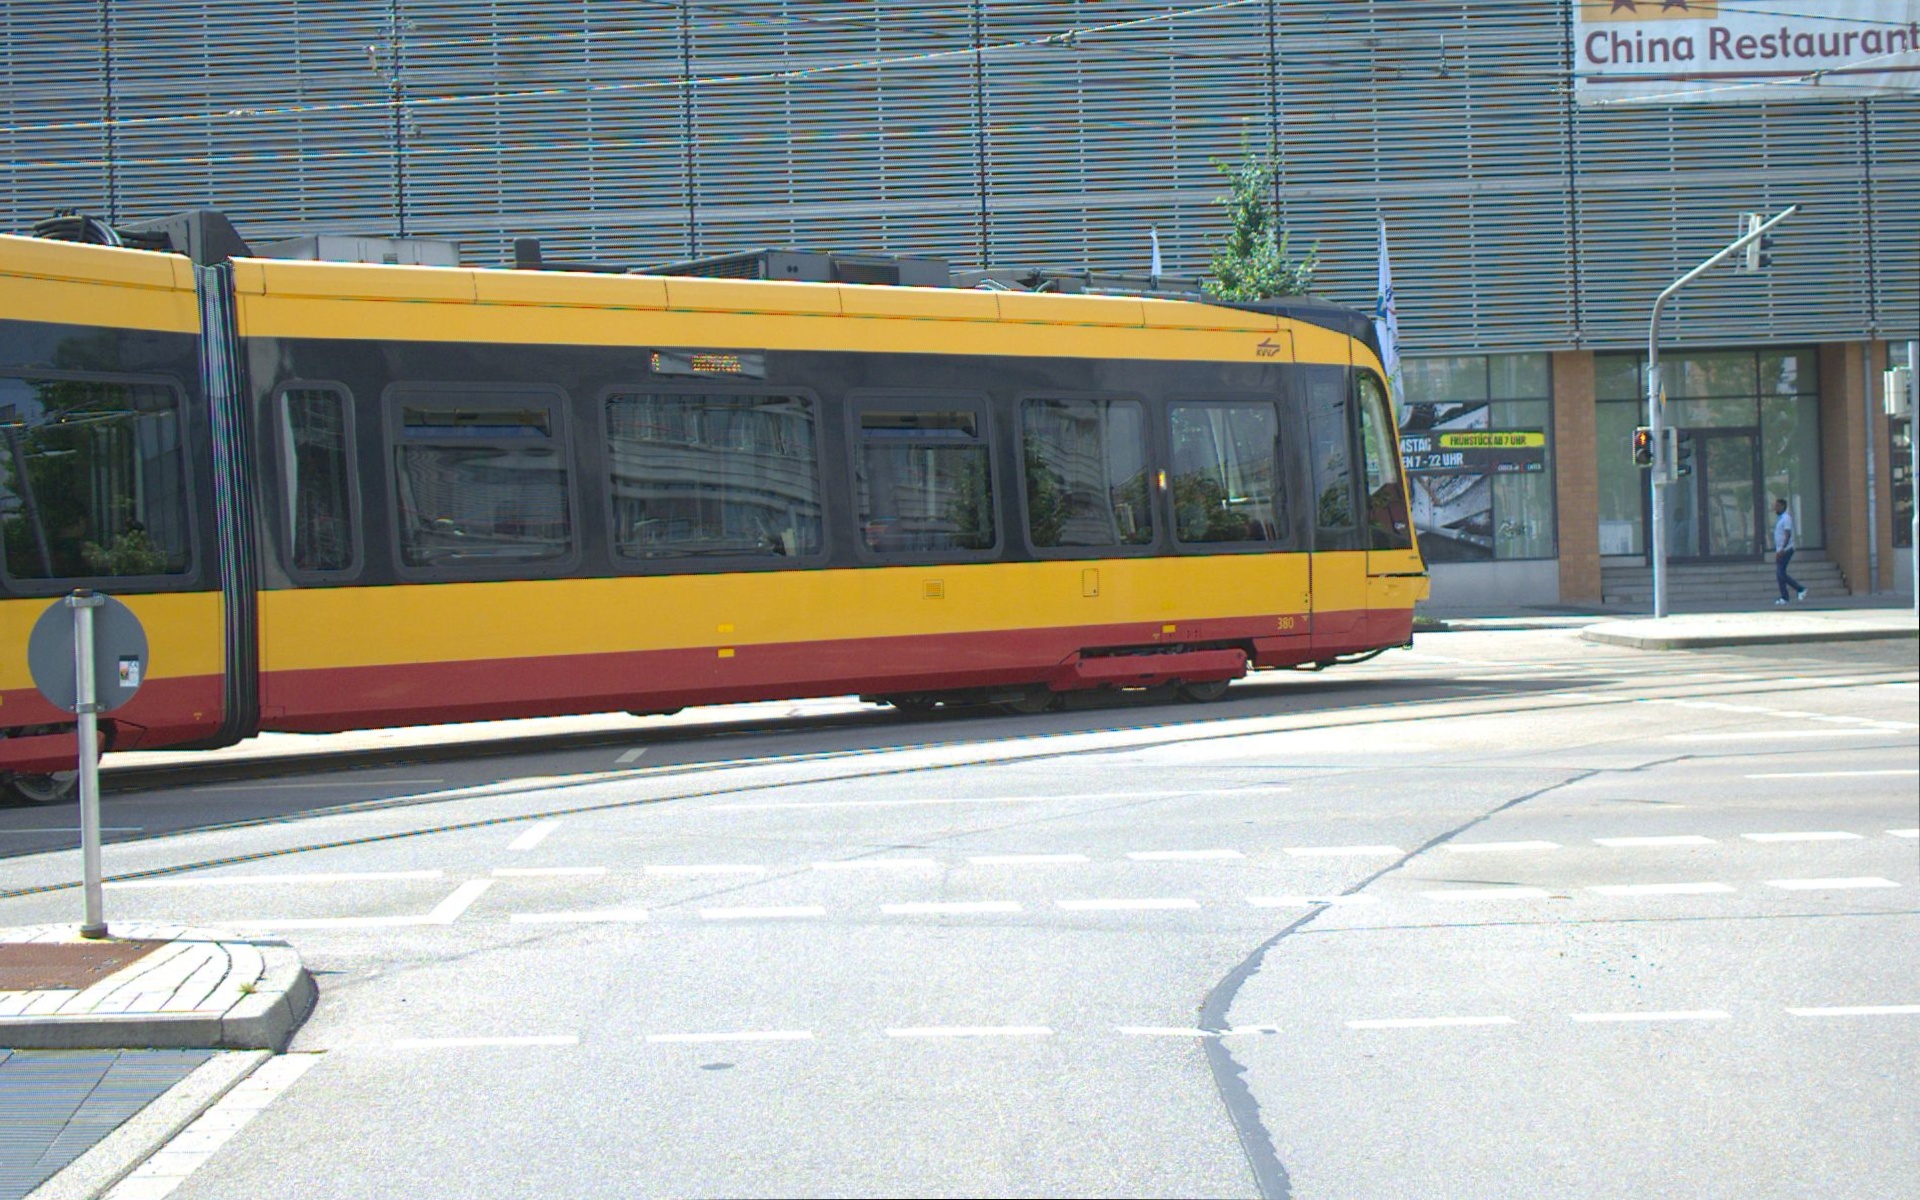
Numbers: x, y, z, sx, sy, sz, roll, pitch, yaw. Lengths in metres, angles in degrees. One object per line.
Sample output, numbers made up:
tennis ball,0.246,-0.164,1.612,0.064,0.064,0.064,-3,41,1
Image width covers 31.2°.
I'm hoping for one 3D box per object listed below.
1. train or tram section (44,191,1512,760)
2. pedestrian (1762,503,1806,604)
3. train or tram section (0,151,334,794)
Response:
train or tram section,-0.732,-1.035,27.277,12.603,3.608,3.063,-3,1,-44
pedestrian,14.339,-0.818,59.856,0.618,1.740,0.629,0,1,1
train or tram section,-7.724,-0.588,17.648,3.059,3.591,10.980,-2,1,24
